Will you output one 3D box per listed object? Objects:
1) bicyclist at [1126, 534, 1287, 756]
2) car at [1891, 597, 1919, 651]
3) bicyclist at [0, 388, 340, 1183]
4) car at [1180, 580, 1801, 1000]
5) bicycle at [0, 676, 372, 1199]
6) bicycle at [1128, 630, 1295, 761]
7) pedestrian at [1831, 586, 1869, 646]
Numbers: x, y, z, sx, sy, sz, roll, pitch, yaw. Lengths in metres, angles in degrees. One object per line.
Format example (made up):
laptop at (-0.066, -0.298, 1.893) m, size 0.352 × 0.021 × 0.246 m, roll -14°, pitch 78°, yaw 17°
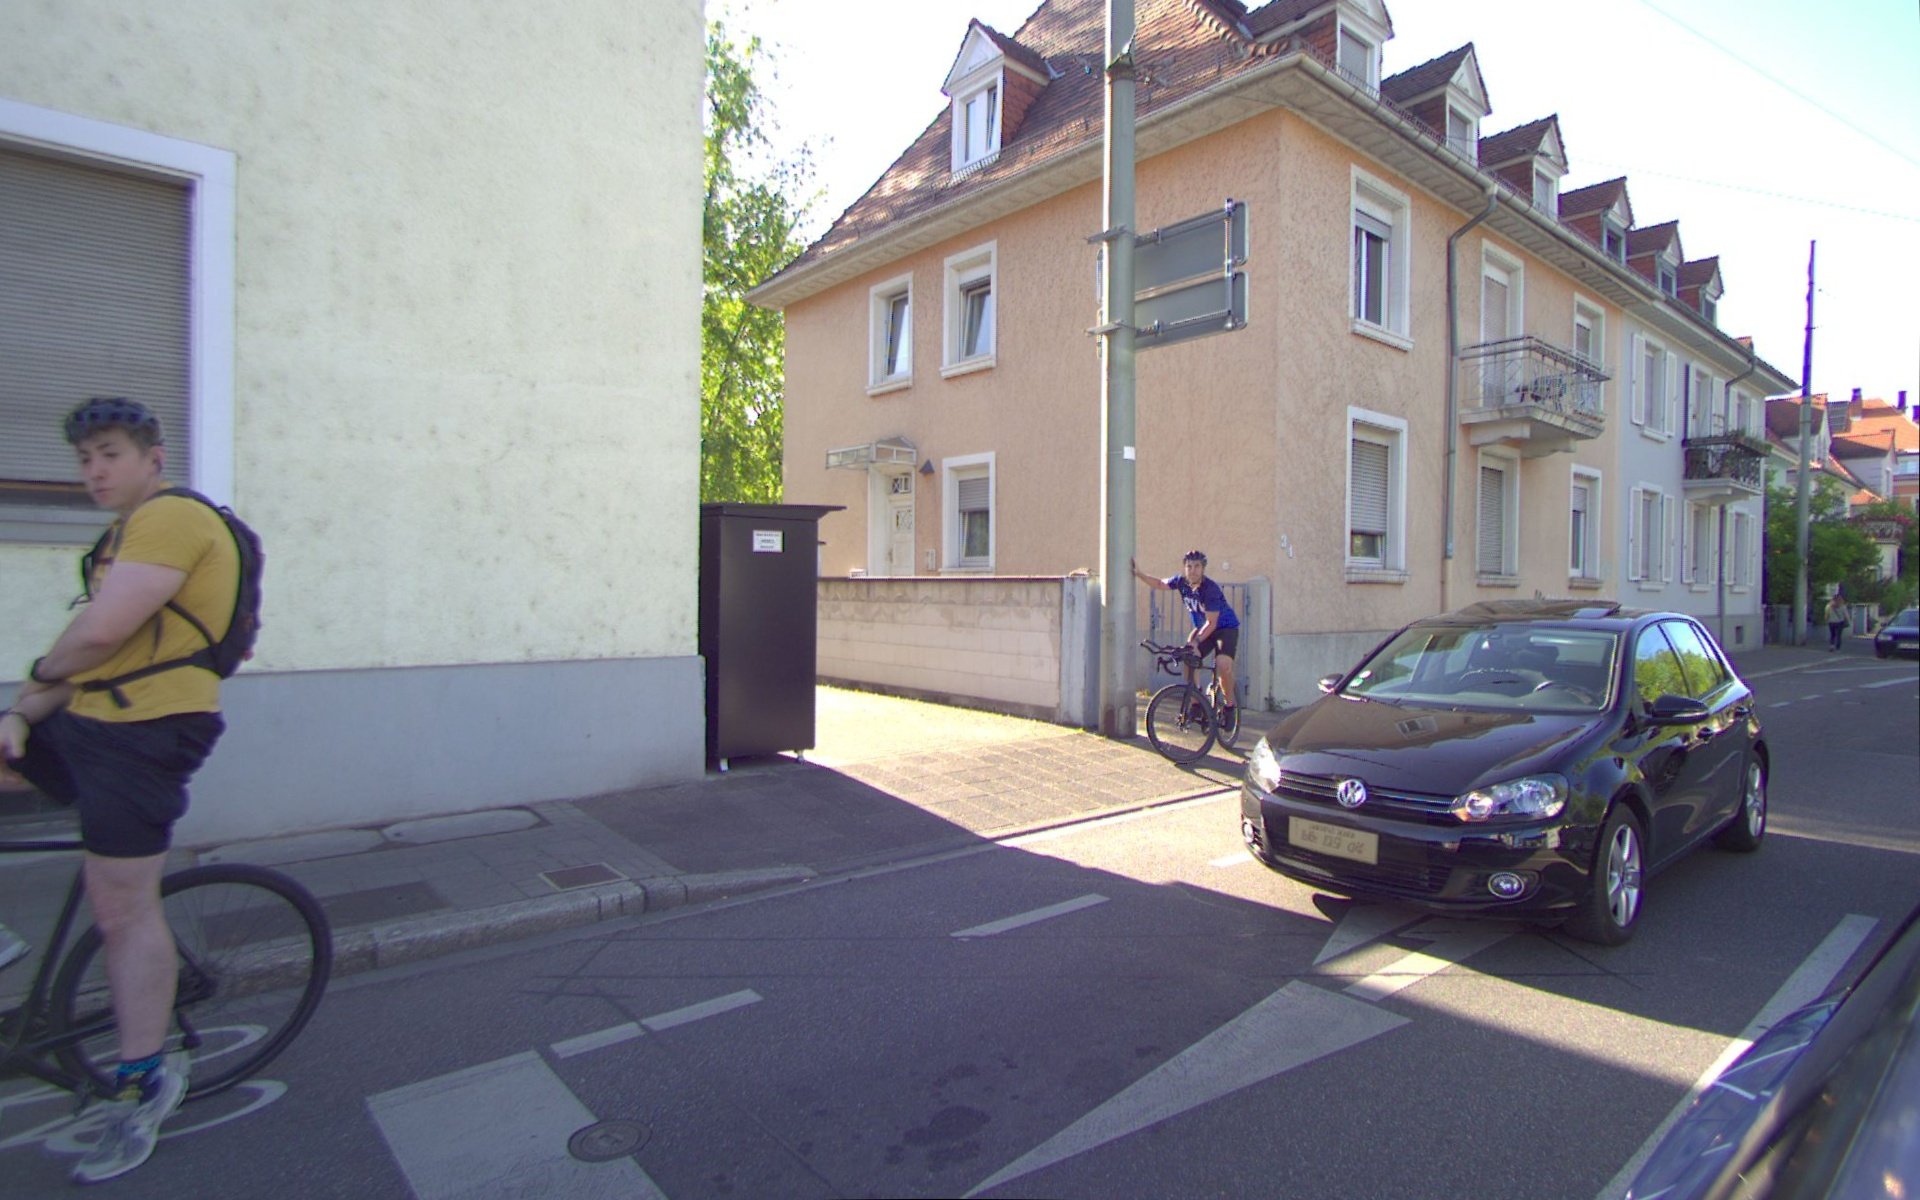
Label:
bicyclist at (2.281, 0.364, 9.431) m, size 0.831 × 1.887 × 1.076 m, roll 0°, pitch 4°, yaw -40°
car at (26.696, 0.632, 27.339) m, size 3.796 × 1.382 × 1.648 m, roll 0°, pitch 1°, yaw -38°
bicyclist at (-2.304, 0.424, 2.696) m, size 1.018 × 1.840 × 0.653 m, roll 0°, pitch 1°, yaw -41°
car at (3.201, 0.683, 5.729) m, size 4.030 × 1.541 × 1.761 m, roll 0°, pitch 1°, yaw -41°
bicycle at (-2.480, 0.847, 2.532) m, size 1.669 × 1.180 × 0.572 m, roll 0°, pitch 1°, yaw -41°
bicycle at (2.314, 0.821, 9.206) m, size 1.669 × 1.003 × 0.572 m, roll 0°, pitch 4°, yaw -41°
pedestrian at (25.606, 0.446, 29.119) m, size 1.079 × 1.682 × 0.694 m, roll 0°, pitch 0°, yaw -41°
